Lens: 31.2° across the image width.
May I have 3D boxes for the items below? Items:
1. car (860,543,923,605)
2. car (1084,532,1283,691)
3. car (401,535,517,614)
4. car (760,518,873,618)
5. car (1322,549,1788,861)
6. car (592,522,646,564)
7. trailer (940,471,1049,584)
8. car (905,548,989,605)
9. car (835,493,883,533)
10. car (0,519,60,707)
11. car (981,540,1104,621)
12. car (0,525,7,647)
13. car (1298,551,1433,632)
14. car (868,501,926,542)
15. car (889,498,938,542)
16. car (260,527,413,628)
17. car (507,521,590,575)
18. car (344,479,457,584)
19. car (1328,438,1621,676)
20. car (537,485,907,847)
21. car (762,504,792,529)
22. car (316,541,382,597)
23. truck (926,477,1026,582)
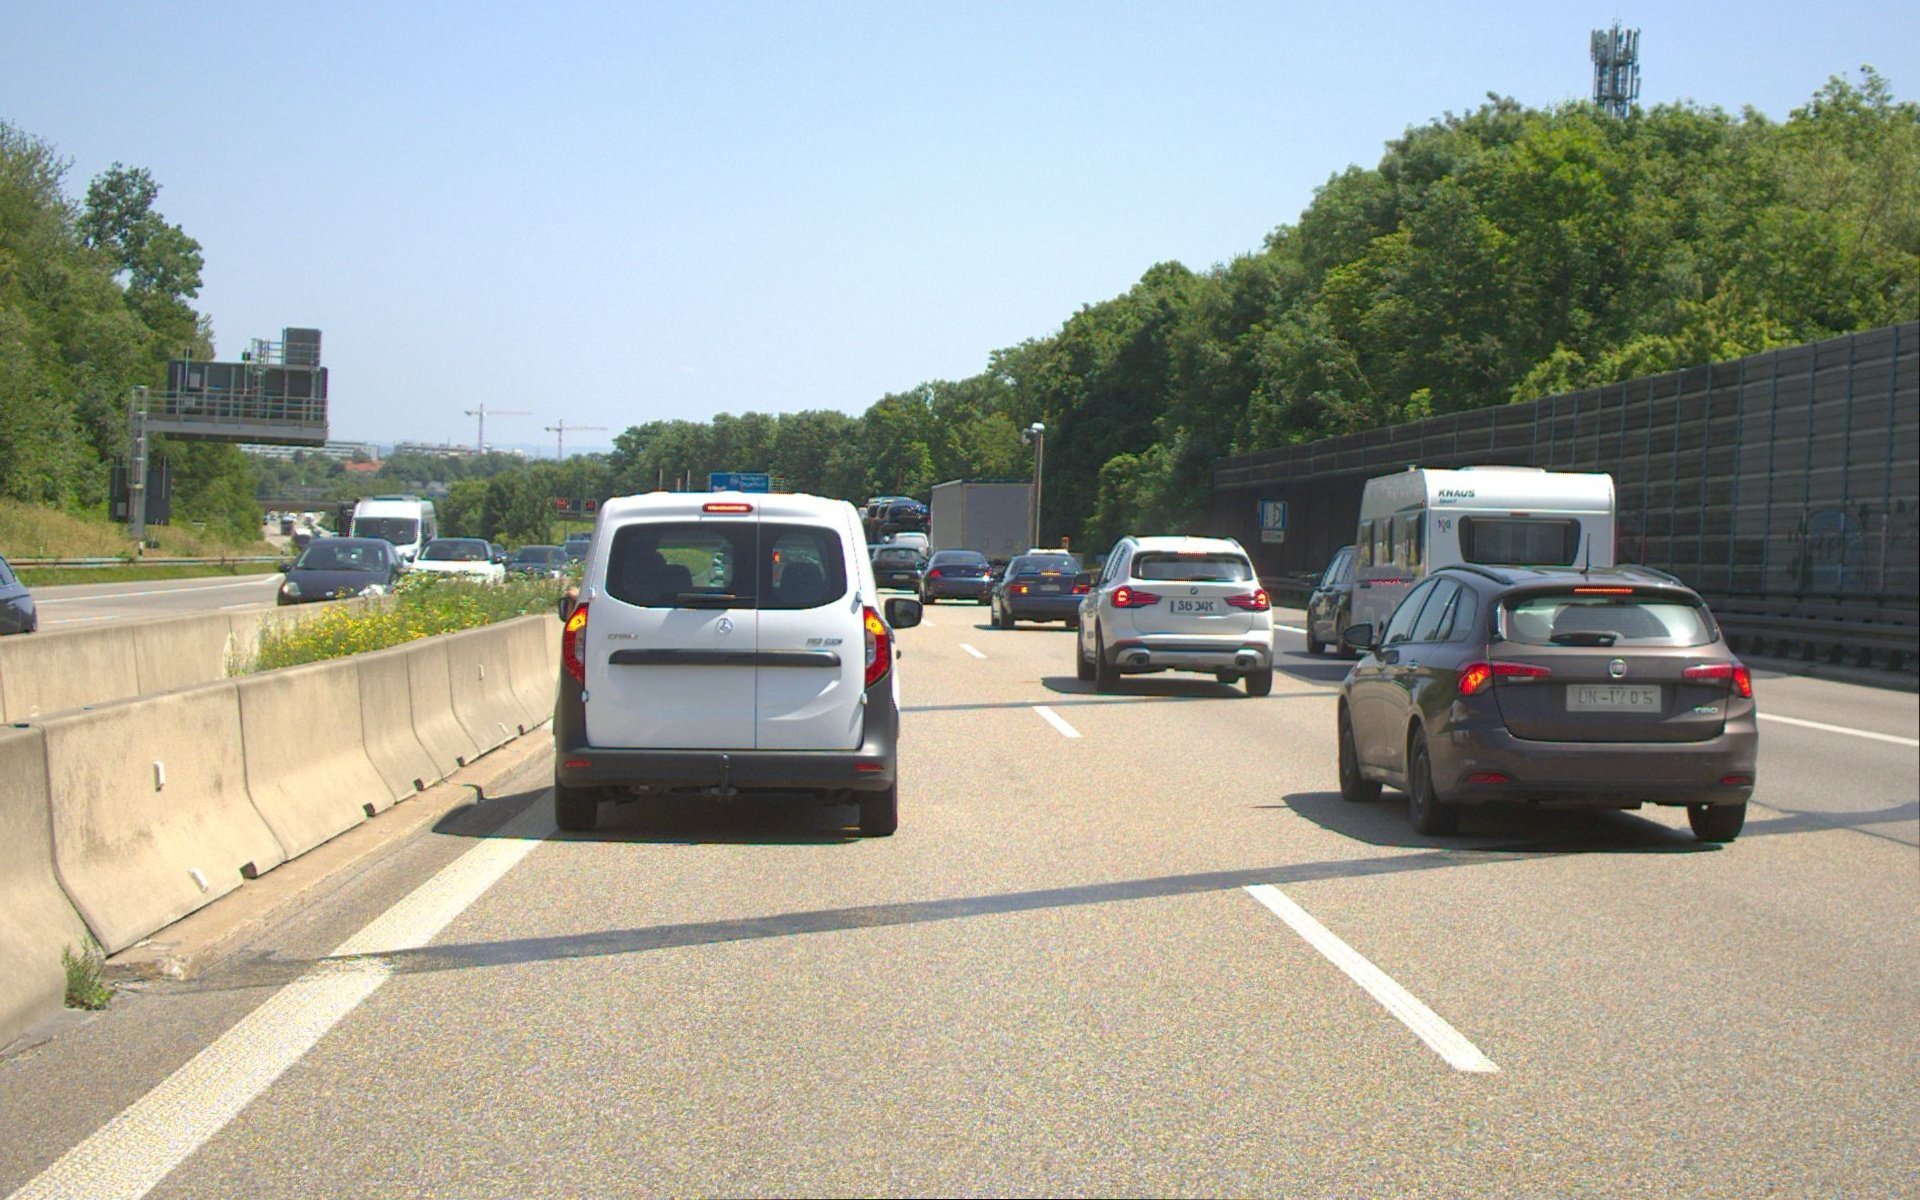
[{"bbox_3d":[-2.261,-0.836,112.836,1.824,1.982,4.001,0,0,-5],"label":"car"},{"bbox_3d":[2.406,0.086,37.874,1.871,1.603,3.879,1,1,0],"label":"car"},{"bbox_3d":[-10.157,-0.542,69.913,1.804,1.521,4.257,1,1,-1],"label":"car"},{"bbox_3d":[-2.789,-0.623,66.186,1.993,1.853,4.001,1,1,-5],"label":"car"},{"bbox_3d":[3.255,0.500,19.668,1.838,1.508,4.402,1,1,0],"label":"car"},{"bbox_3d":[-14.591,-2.441,147.302,1.993,1.718,4.357,1,1,-2],"label":"car"},{"bbox_3d":[1.202,-2.642,127.709,3.081,3.972,10.325,1,1,-5],"label":"trailer"},{"bbox_3d":[-0.353,-0.613,88.248,1.824,1.419,4.001,1,1,-5],"label":"car"},{"bbox_3d":[-5.213,-4.464,176.999,1.993,2.007,4.001,1,1,-8],"label":"car"},{"bbox_3d":[-7.997,0.100,25.254,1.731,1.400,4.612,0,1,-2],"label":"car"},{"bbox_3d":[1.480,-0.371,63.157,1.824,1.419,4.001,1,1,-5],"label":"car"},{"bbox_3d":[-12.038,-0.145,38.100,1.842,1.415,4.234,1,1,-1],"label":"car"},{"bbox_3d":[7.445,-0.186,63.455,1.824,1.419,4.001,1,1,-3],"label":"car"},{"bbox_3d":[-2.310,-2.834,124.883,1.824,1.442,4.001,1,1,-5],"label":"car"},{"bbox_3d":[-2.172,-3.699,160.194,1.993,2.007,4.001,1,1,-4],"label":"car"},{"bbox_3d":[-9.317,-0.362,51.609,1.665,1.423,3.857,1,1,-1],"label":"car"},{"bbox_3d":[-11.251,-1.436,94.278,1.875,1.406,4.413,1,1,-2],"label":"car"},{"bbox_3d":[-14.992,-1.832,92.428,2.215,2.692,6.063,1,1,-2],"label":"car"},{"bbox_3d":[6.383,-0.545,43.533,2.478,2.756,6.220,1,1,-3],"label":"car"},{"bbox_3d":[-1.230,0.302,19.308,1.802,1.802,4.000,1,1,0],"label":"car"},{"bbox_3d":[-12.846,-5.858,240.885,1.993,1.722,4.001,1,1,-5],"label":"car"},{"bbox_3d":[-22.820,-1.173,128.470,1.993,2.007,4.001,1,1,-4],"label":"car"},{"bbox_3d":[0.549,-2.755,135.711,3.081,3.972,9.648,1,1,-5],"label":"truck"}]
